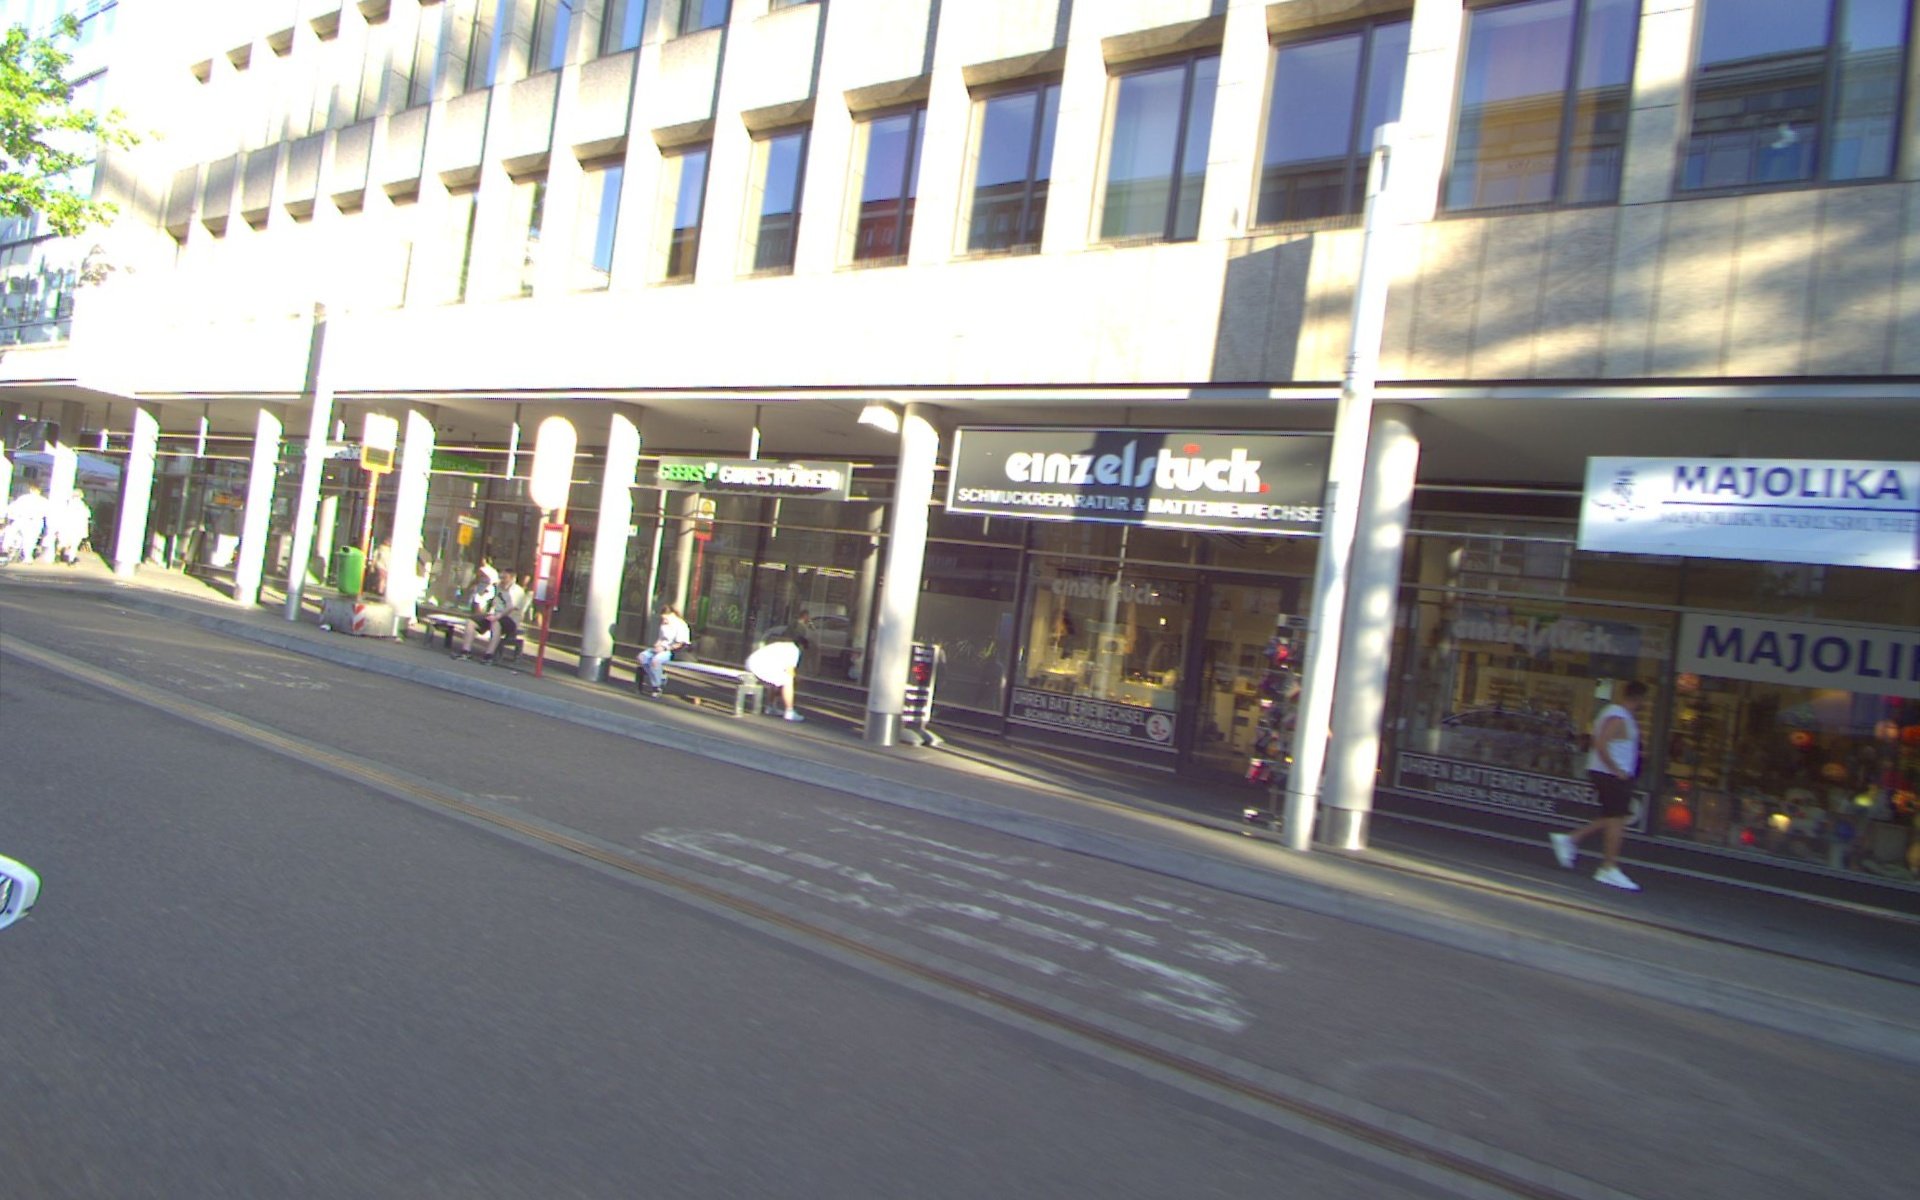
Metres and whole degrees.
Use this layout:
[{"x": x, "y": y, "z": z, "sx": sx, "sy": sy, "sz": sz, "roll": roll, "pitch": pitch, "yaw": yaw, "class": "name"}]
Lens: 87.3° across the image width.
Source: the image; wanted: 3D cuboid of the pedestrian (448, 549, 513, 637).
[{"x": -9.266, "y": -0.133, "z": 19.456, "sx": 0.783, "sy": 1.560, "sz": 0.643, "roll": 7, "pitch": -1, "yaw": 31, "class": "pedestrian"}]

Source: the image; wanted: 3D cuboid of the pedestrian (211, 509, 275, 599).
[{"x": -14.314, "y": -0.921, "z": 20.090, "sx": 0.768, "sy": 1.672, "sz": 0.638, "roll": 7, "pitch": -1, "yaw": 32, "class": "pedestrian"}]

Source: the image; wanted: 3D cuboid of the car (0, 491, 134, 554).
[{"x": -29.049, "y": -2.514, "z": 32.022, "sx": 1.620, "sy": 1.490, "sz": 3.813, "roll": 7, "pitch": -1, "yaw": 26, "class": "car"}]

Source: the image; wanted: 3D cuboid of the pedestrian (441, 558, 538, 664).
[{"x": -6.750, "y": 0.176, "z": 14.463, "sx": 0.763, "sy": 1.393, "sz": 0.837, "roll": 8, "pitch": -1, "yaw": 9, "class": "pedestrian"}]

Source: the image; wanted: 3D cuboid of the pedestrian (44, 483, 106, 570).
[{"x": -19.970, "y": -1.656, "z": 22.700, "sx": 1.016, "sy": 1.836, "sz": 0.701, "roll": 7, "pitch": 3, "yaw": 31, "class": "pedestrian"}]

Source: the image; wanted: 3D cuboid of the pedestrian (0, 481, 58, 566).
[{"x": -20.661, "y": -1.683, "z": 22.207, "sx": 0.678, "sy": 1.768, "sz": 0.900, "roll": 7, "pitch": 3, "yaw": 30, "class": "pedestrian"}]

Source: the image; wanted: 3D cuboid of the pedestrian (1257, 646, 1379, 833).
[{"x": 3.667, "y": 1.398, "z": 10.287, "sx": 0.843, "sy": 1.720, "sz": 0.745, "roll": 7, "pitch": -1, "yaw": 32, "class": "pedestrian"}]

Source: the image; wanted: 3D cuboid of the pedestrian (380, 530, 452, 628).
[{"x": -10.524, "y": -0.405, "z": 19.464, "sx": 0.821, "sy": 1.761, "sz": 0.717, "roll": 7, "pitch": -1, "yaw": 31, "class": "pedestrian"}]

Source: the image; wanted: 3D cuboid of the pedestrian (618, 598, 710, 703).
[{"x": -3.812, "y": 0.653, "z": 12.963, "sx": 0.772, "sy": 1.212, "sz": 0.667, "roll": 7, "pitch": -1, "yaw": 36, "class": "pedestrian"}]

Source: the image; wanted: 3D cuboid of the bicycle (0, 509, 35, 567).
[{"x": -20.990, "y": -1.407, "z": 22.074, "sx": 1.898, "sy": 1.142, "sz": 0.564, "roll": 7, "pitch": 1, "yaw": 35, "class": "bicycle"}]

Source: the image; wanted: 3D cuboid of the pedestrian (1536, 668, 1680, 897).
[{"x": 5.743, "y": 1.580, "z": 8.961, "sx": 0.843, "sy": 1.814, "sz": 0.745, "roll": 7, "pitch": -1, "yaw": 32, "class": "pedestrian"}]

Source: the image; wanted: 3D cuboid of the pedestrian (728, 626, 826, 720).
[{"x": -2.283, "y": 0.920, "z": 12.586, "sx": 0.685, "sy": 1.043, "sz": 0.837, "roll": 7, "pitch": -1, "yaw": 36, "class": "pedestrian"}]
